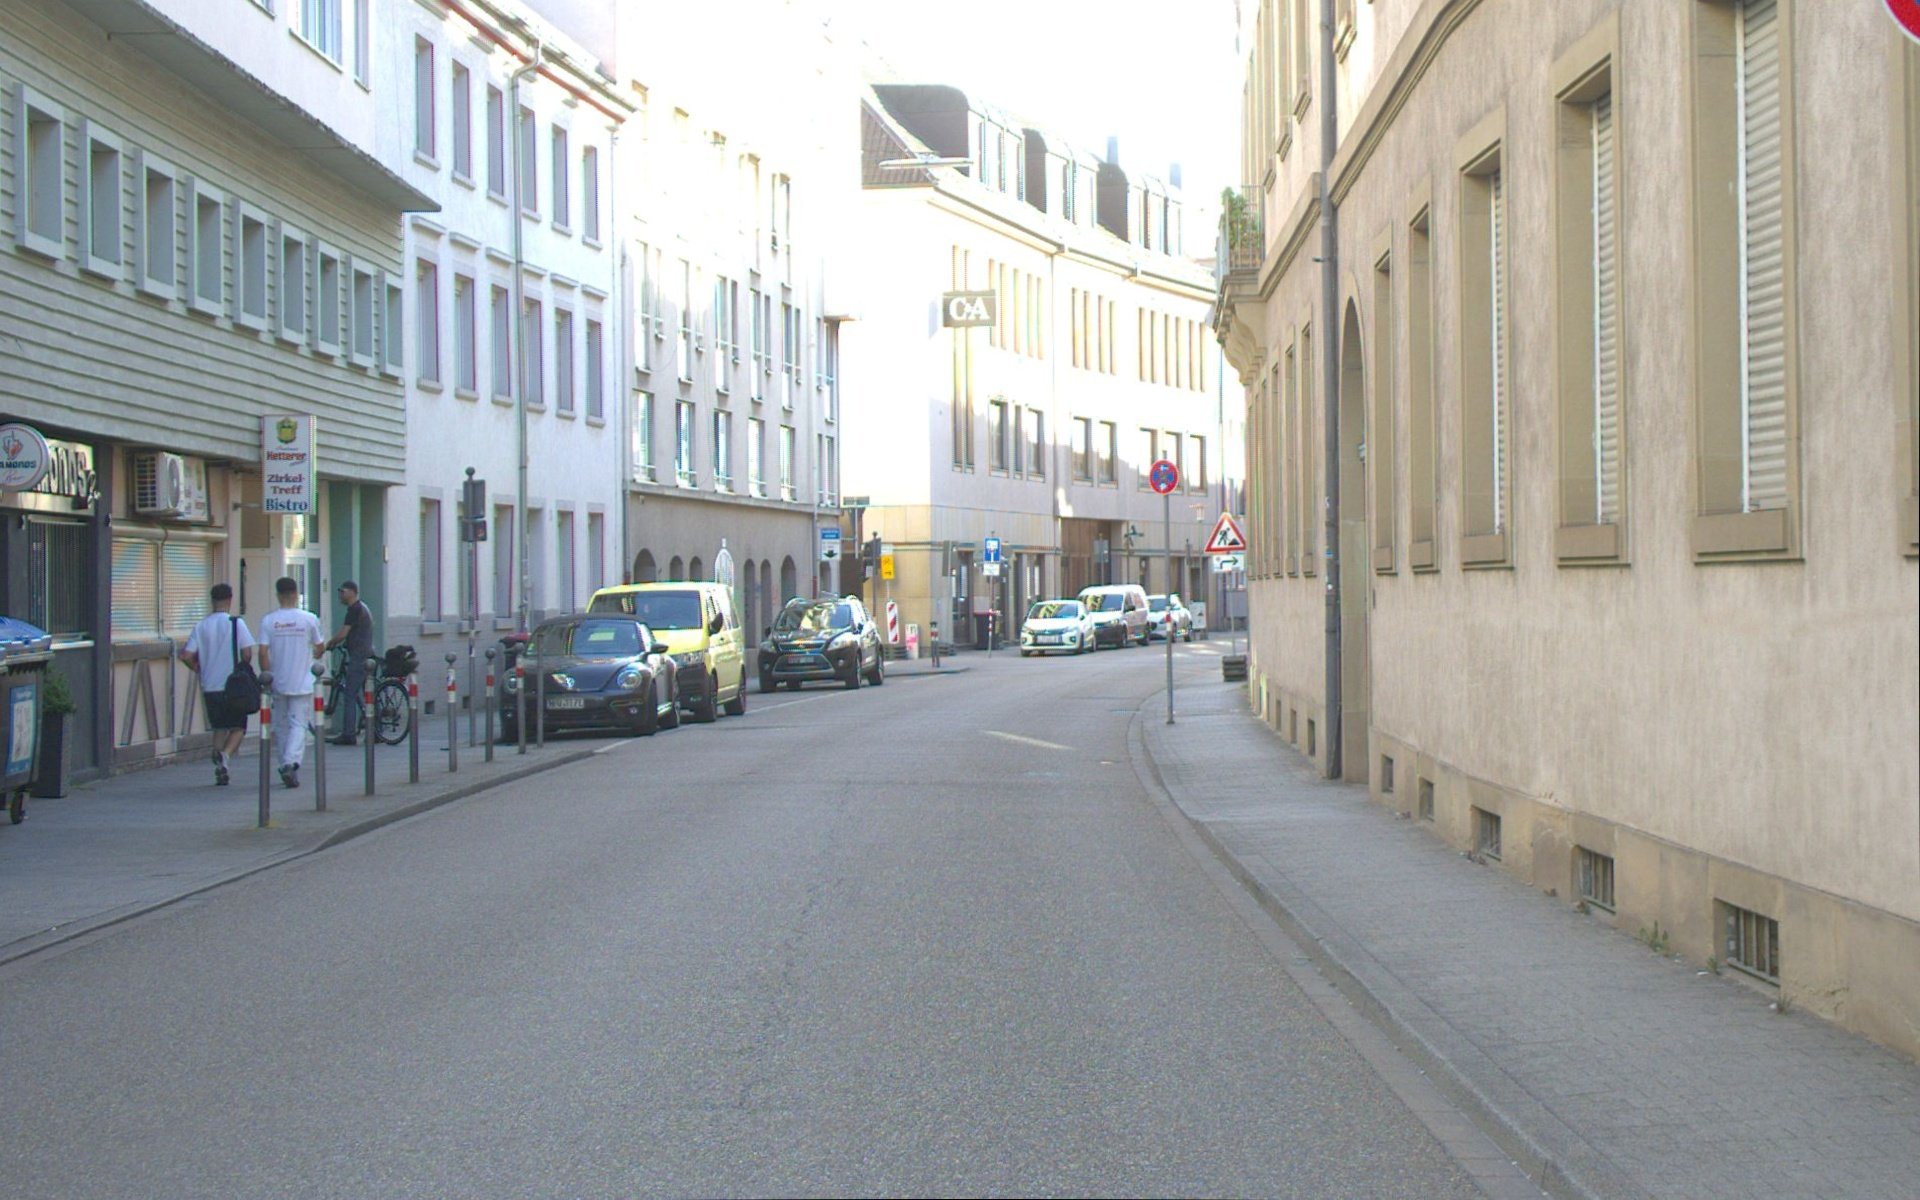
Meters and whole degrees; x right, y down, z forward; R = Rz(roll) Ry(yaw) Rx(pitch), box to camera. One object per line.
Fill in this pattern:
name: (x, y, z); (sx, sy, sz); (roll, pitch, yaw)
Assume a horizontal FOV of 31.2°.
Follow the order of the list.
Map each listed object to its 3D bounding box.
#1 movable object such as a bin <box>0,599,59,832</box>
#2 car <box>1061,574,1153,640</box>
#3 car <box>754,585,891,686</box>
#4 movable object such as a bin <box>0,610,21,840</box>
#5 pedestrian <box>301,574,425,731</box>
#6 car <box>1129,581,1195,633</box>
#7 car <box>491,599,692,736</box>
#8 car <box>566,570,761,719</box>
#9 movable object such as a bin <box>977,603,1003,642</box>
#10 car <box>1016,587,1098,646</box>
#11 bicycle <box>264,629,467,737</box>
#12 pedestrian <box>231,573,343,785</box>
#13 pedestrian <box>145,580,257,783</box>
movable object such as a bin: (-6.881, 0.771, 23.397); (1.122, 1.515, 1.342); (-1, 1, 0)
car: (4.283, 0.180, 99.657); (1.671, 1.812, 4.549); (-2, 0, 15)
car: (-2.507, 0.631, 63.668); (1.740, 1.705, 4.189); (-3, 0, 8)
movable object such as a bin: (-6.675, 0.826, 21.859); (0.968, 1.466, 1.474); (-1, 2, 0)
pedestrian: (-6.657, 0.577, 38.323); (1.079, 1.723, 0.801); (-1, 0, 25)
car: (6.209, 0.203, 105.602); (1.272, 1.502, 3.399); (-2, 0, 16)
car: (-4.438, 0.782, 41.934); (1.819, 1.481, 4.076); (-3, 0, 2)
car: (-4.029, 0.566, 47.494); (1.880, 1.860, 4.863); (-3, 0, 4)
movable object such as a bin: (0.836, 0.632, 95.464); (0.609, 1.057, 0.713); (2, 0, 6)
car: (2.681, 0.425, 93.983); (1.671, 1.502, 3.792); (-2, 0, 10)
bicycle: (-6.624, 0.917, 38.310); (2.131, 1.159, 0.822); (-1, 0, 25)
pedestrian: (-5.625, 0.654, 28.777); (0.698, 1.728, 0.829); (-2, 0, 2)
pedestrian: (-6.362, 0.674, 28.856); (0.672, 1.664, 0.894); (-1, 0, 2)
